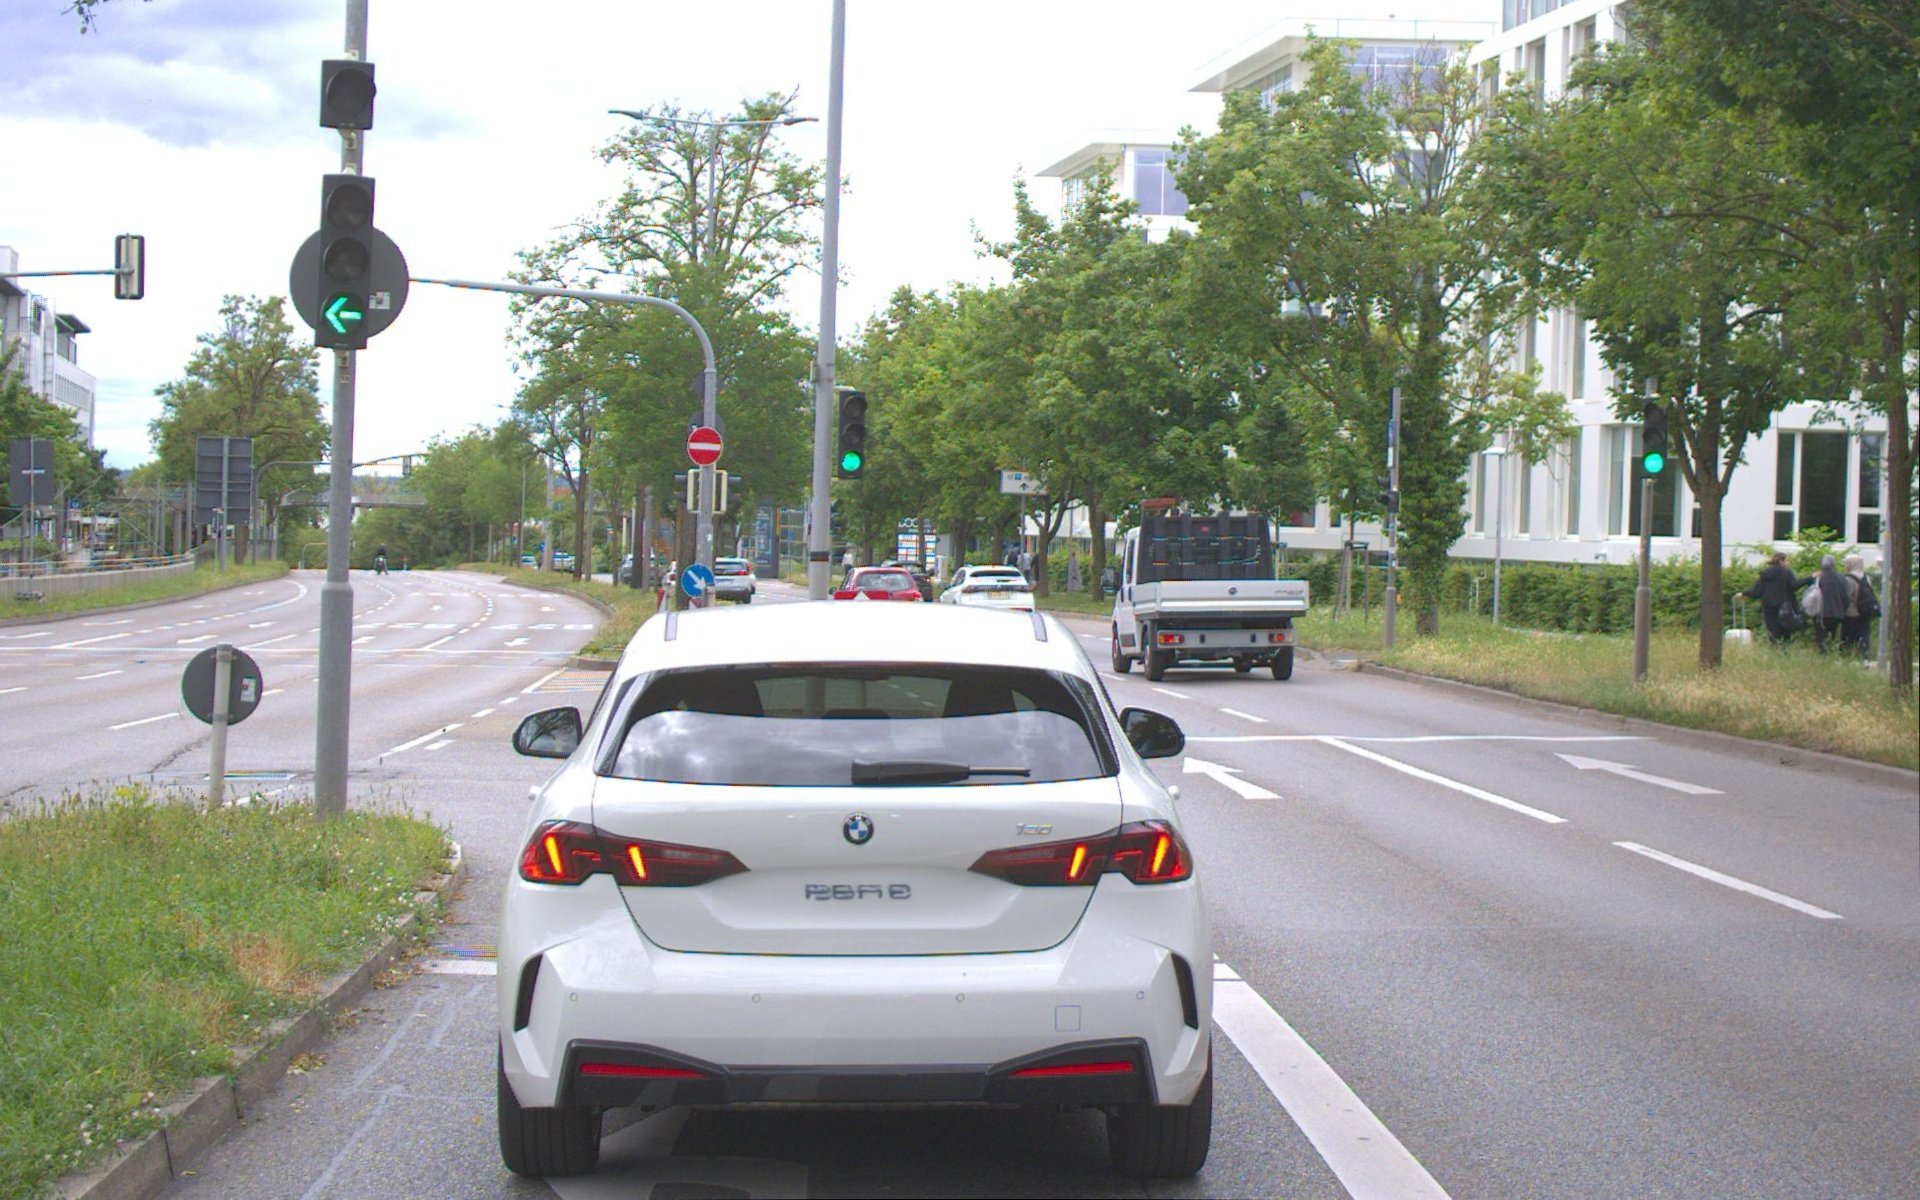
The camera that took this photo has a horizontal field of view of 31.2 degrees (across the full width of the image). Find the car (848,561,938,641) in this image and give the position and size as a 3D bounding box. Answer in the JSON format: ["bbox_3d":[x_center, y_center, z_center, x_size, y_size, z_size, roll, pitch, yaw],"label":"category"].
[{"bbox_3d":[-1.317,0.011,68.263,1.716,1.553,3.858,0,0,-1],"label":"car"}]

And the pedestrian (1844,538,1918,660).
[{"bbox_3d":[12.869,-0.011,48.044,0.767,1.679,0.883,1,0,-1],"label":"pedestrian"}]

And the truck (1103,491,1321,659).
[{"bbox_3d":[3.471,-0.348,48.629,2.211,2.196,5.845,1,0,-4],"label":"truck"}]

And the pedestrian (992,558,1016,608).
[{"bbox_3d":[1.798,-0.697,140.978,0.762,2.007,0.754,1,0,-15],"label":"pedestrian"}]

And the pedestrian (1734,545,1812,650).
[{"bbox_3d":[11.374,-0.035,48.098,0.789,1.443,1.112,1,0,-1],"label":"pedestrian"}]

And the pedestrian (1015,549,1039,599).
[{"bbox_3d":[2.754,-1.060,140.831,0.762,2.007,0.754,1,0,-15],"label":"pedestrian"}]

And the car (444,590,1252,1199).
[{"bbox_3d":[-0.268,0.717,9.897,1.822,1.433,4.000,1,0,0],"label":"car"}]

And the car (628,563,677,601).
[{"bbox_3d":[-13.470,-0.802,150.598,1.891,1.590,4.314,1,0,-8],"label":"car"}]

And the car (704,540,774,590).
[{"bbox_3d":[-7.278,-1.134,112.830,1.854,1.590,4.315,0,0,-10],"label":"car"}]

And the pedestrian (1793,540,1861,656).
[{"bbox_3d":[12.112,-0.024,48.053,0.699,1.590,0.883,1,0,-1],"label":"pedestrian"}]

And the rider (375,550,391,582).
[{"bbox_3d":[-31.647,-1.863,188.528,0.846,1.765,0.808,1,0,-8],"label":"rider"}]

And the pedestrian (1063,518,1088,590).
[{"bbox_3d":[4.215,-1.681,125.856,0.831,2.618,0.646,1,0,0],"label":"pedestrian"}]

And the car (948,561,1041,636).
[{"bbox_3d":[0.717,-0.044,74.462,1.715,1.550,4.090,1,0,-3],"label":"car"}]
